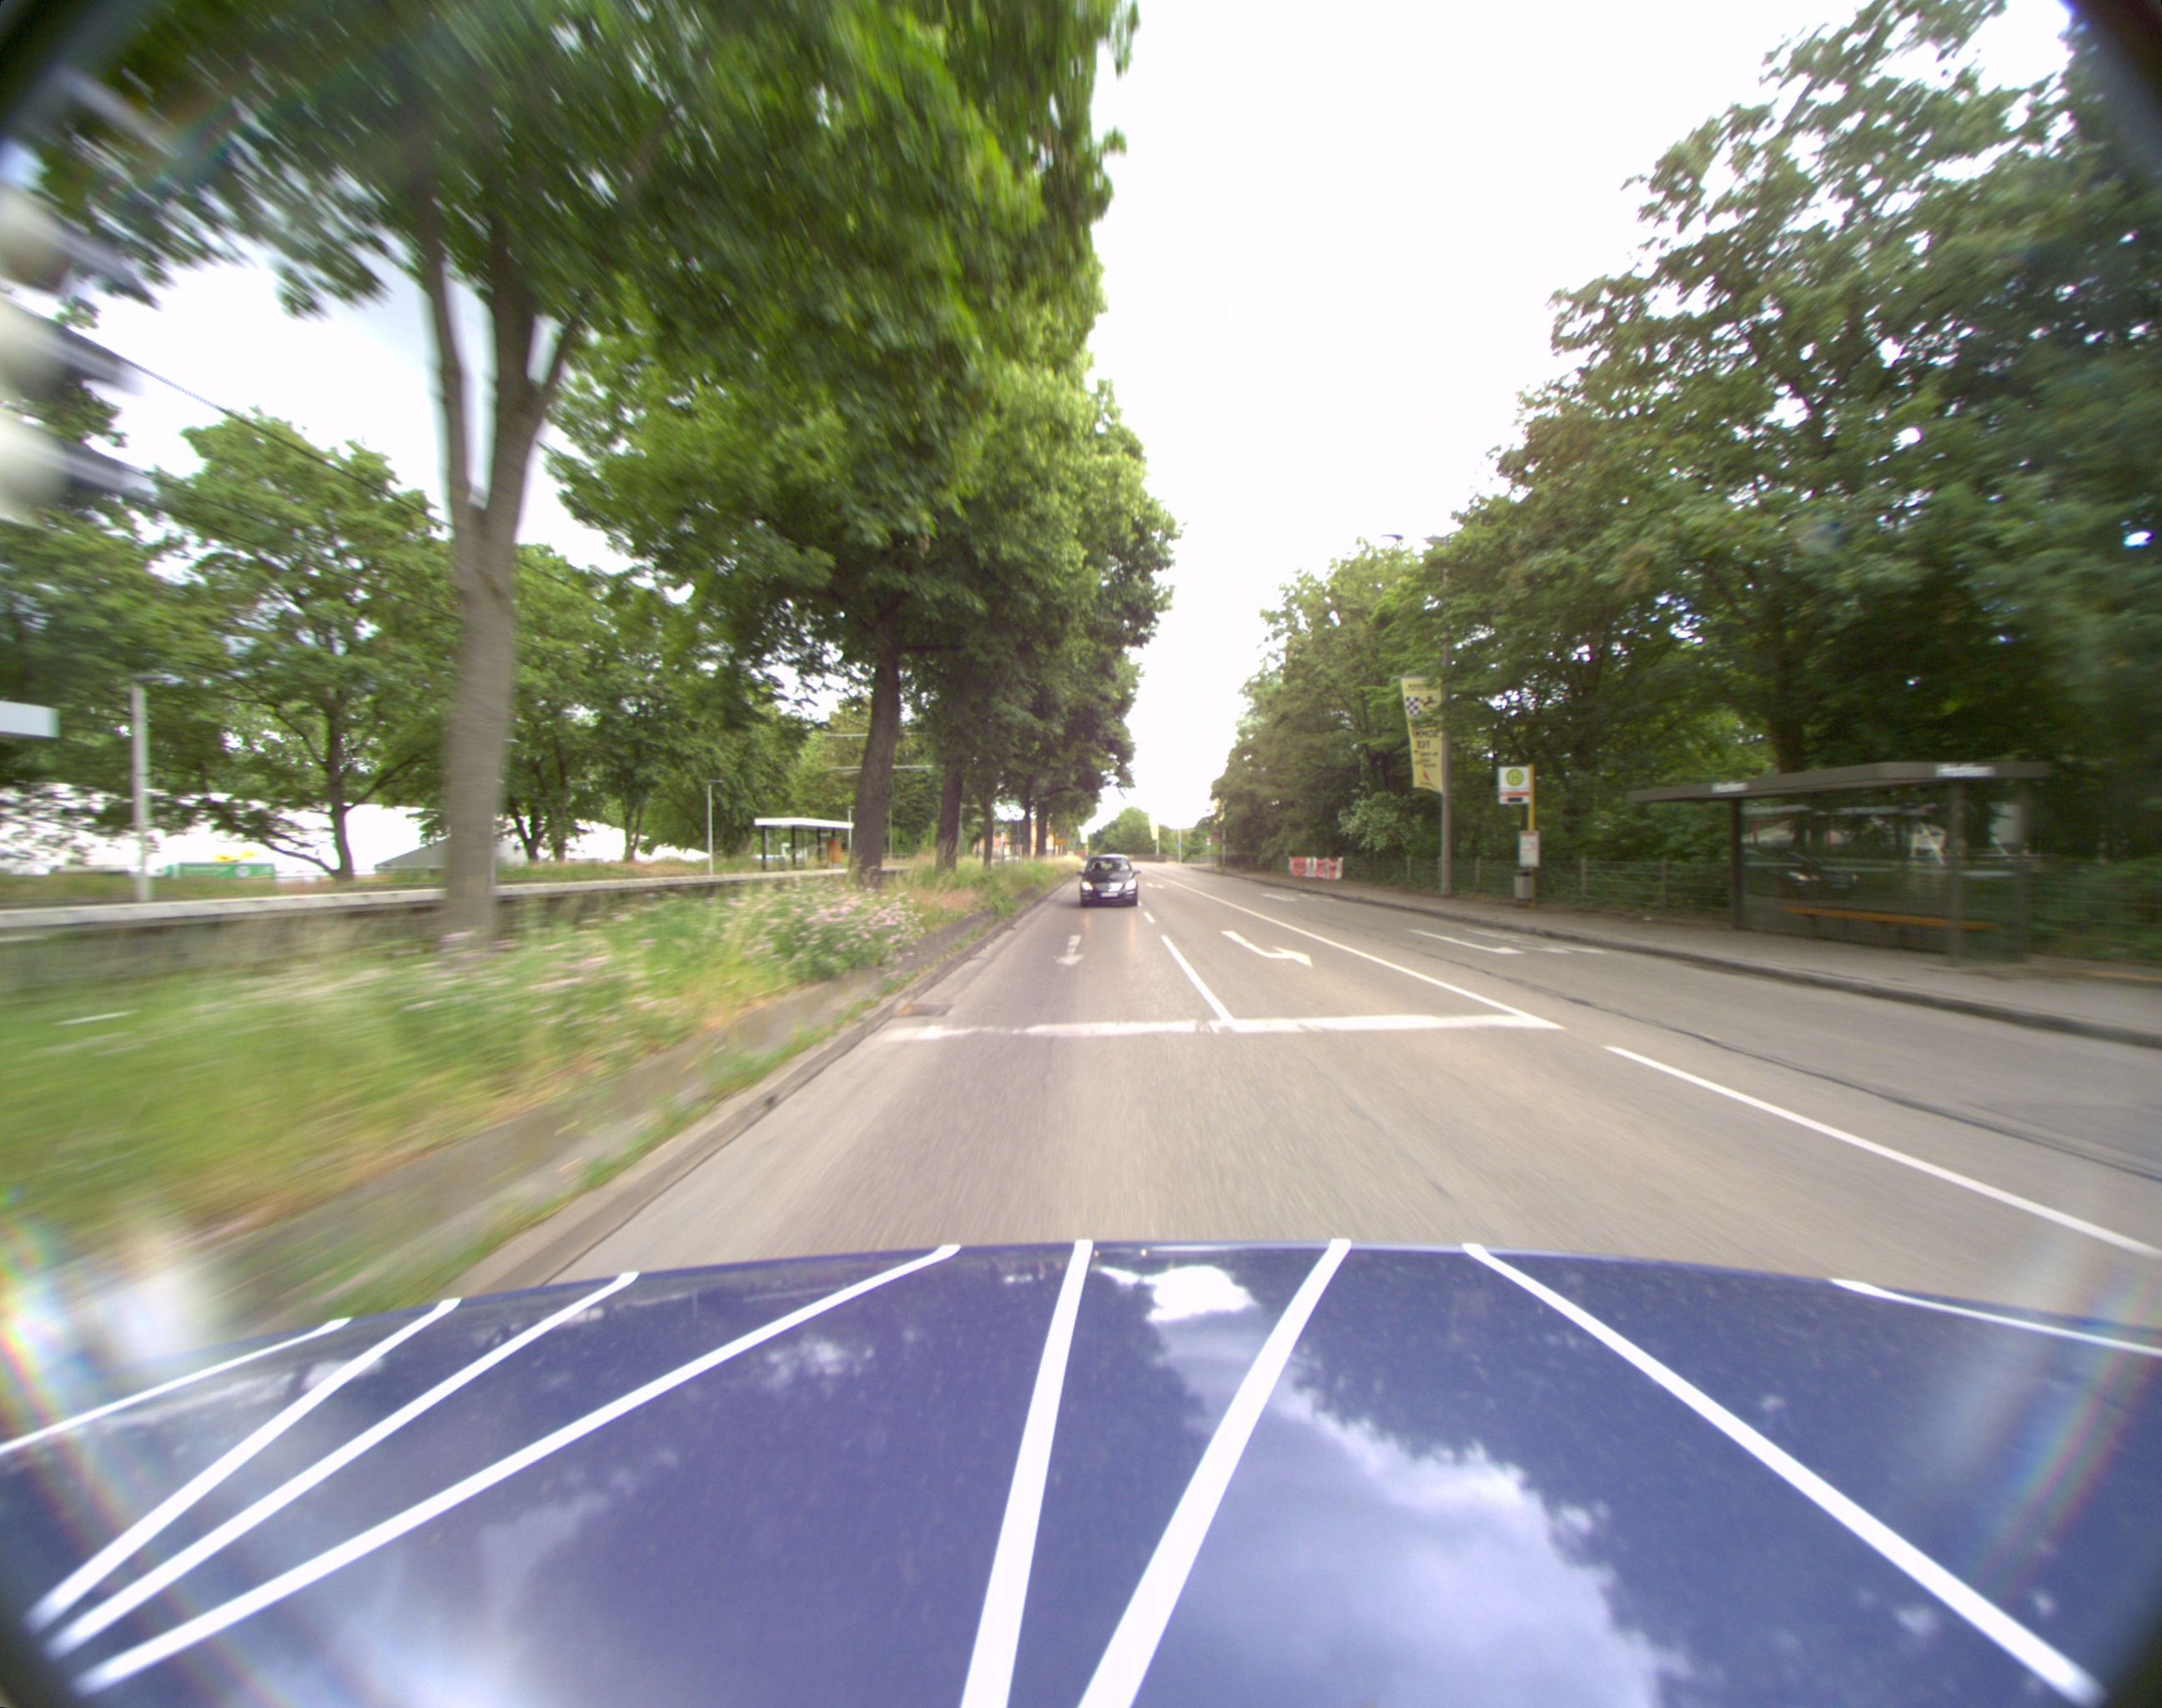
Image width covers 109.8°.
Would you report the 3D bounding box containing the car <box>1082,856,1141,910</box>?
[{"bbox_3d":[0.979,0.860,24.475,1.751,1.556,4.075,0,1,2],"label":"car"}]
